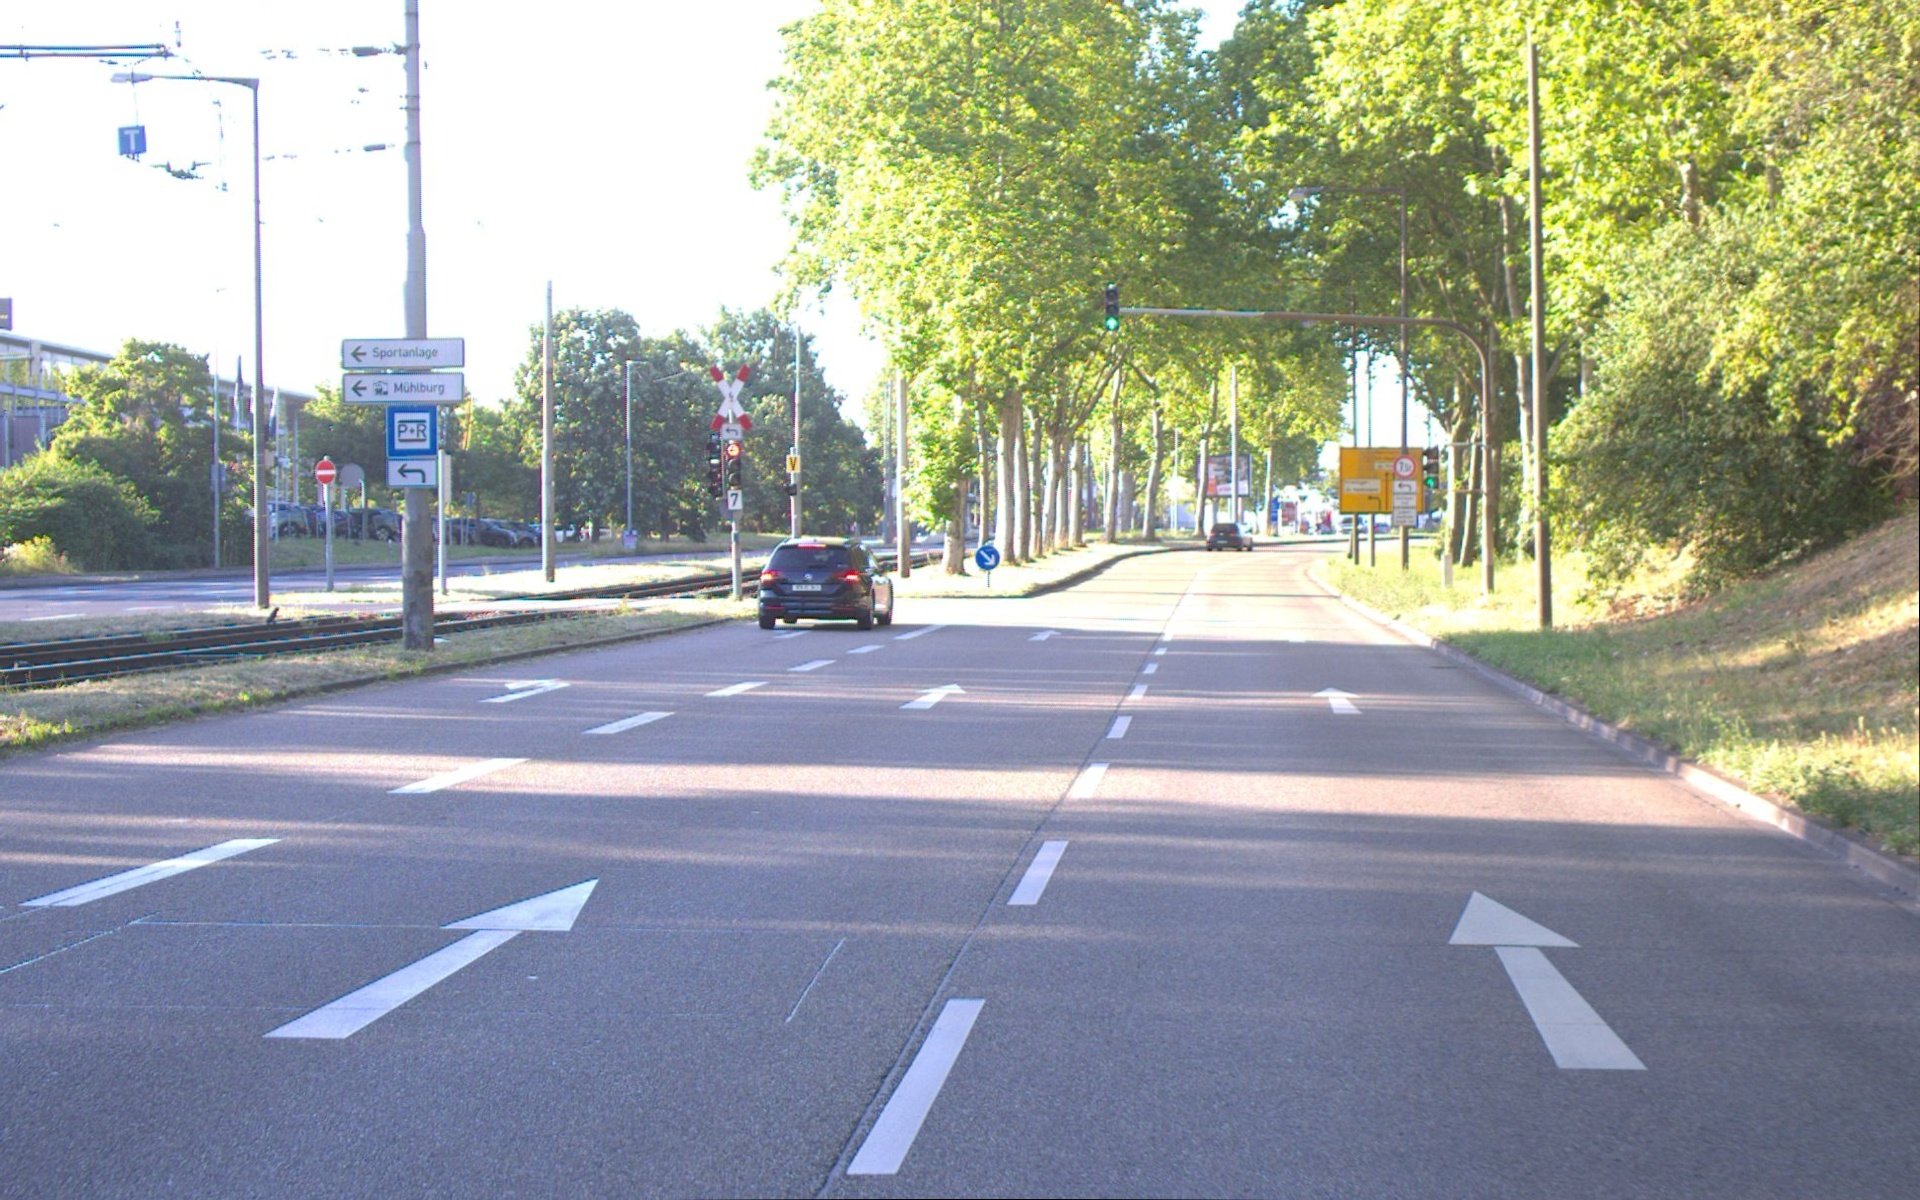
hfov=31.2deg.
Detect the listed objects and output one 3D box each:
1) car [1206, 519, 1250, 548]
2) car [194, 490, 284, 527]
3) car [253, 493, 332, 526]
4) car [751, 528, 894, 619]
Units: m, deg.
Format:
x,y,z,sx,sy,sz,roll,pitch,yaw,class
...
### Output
x,y,z,sx,sy,sz,roll,pitch,yaw,class
13.272,-3.280,170.285,1.793,1.398,3.687,1,0,10,car
-28.013,-3.557,133.556,3.142,1.387,1.455,1,1,1,car
-29.496,-3.989,151.913,3.142,1.387,1.455,1,1,1,car
-2.168,-0.440,55.116,1.793,1.398,3.688,0,1,6,car
